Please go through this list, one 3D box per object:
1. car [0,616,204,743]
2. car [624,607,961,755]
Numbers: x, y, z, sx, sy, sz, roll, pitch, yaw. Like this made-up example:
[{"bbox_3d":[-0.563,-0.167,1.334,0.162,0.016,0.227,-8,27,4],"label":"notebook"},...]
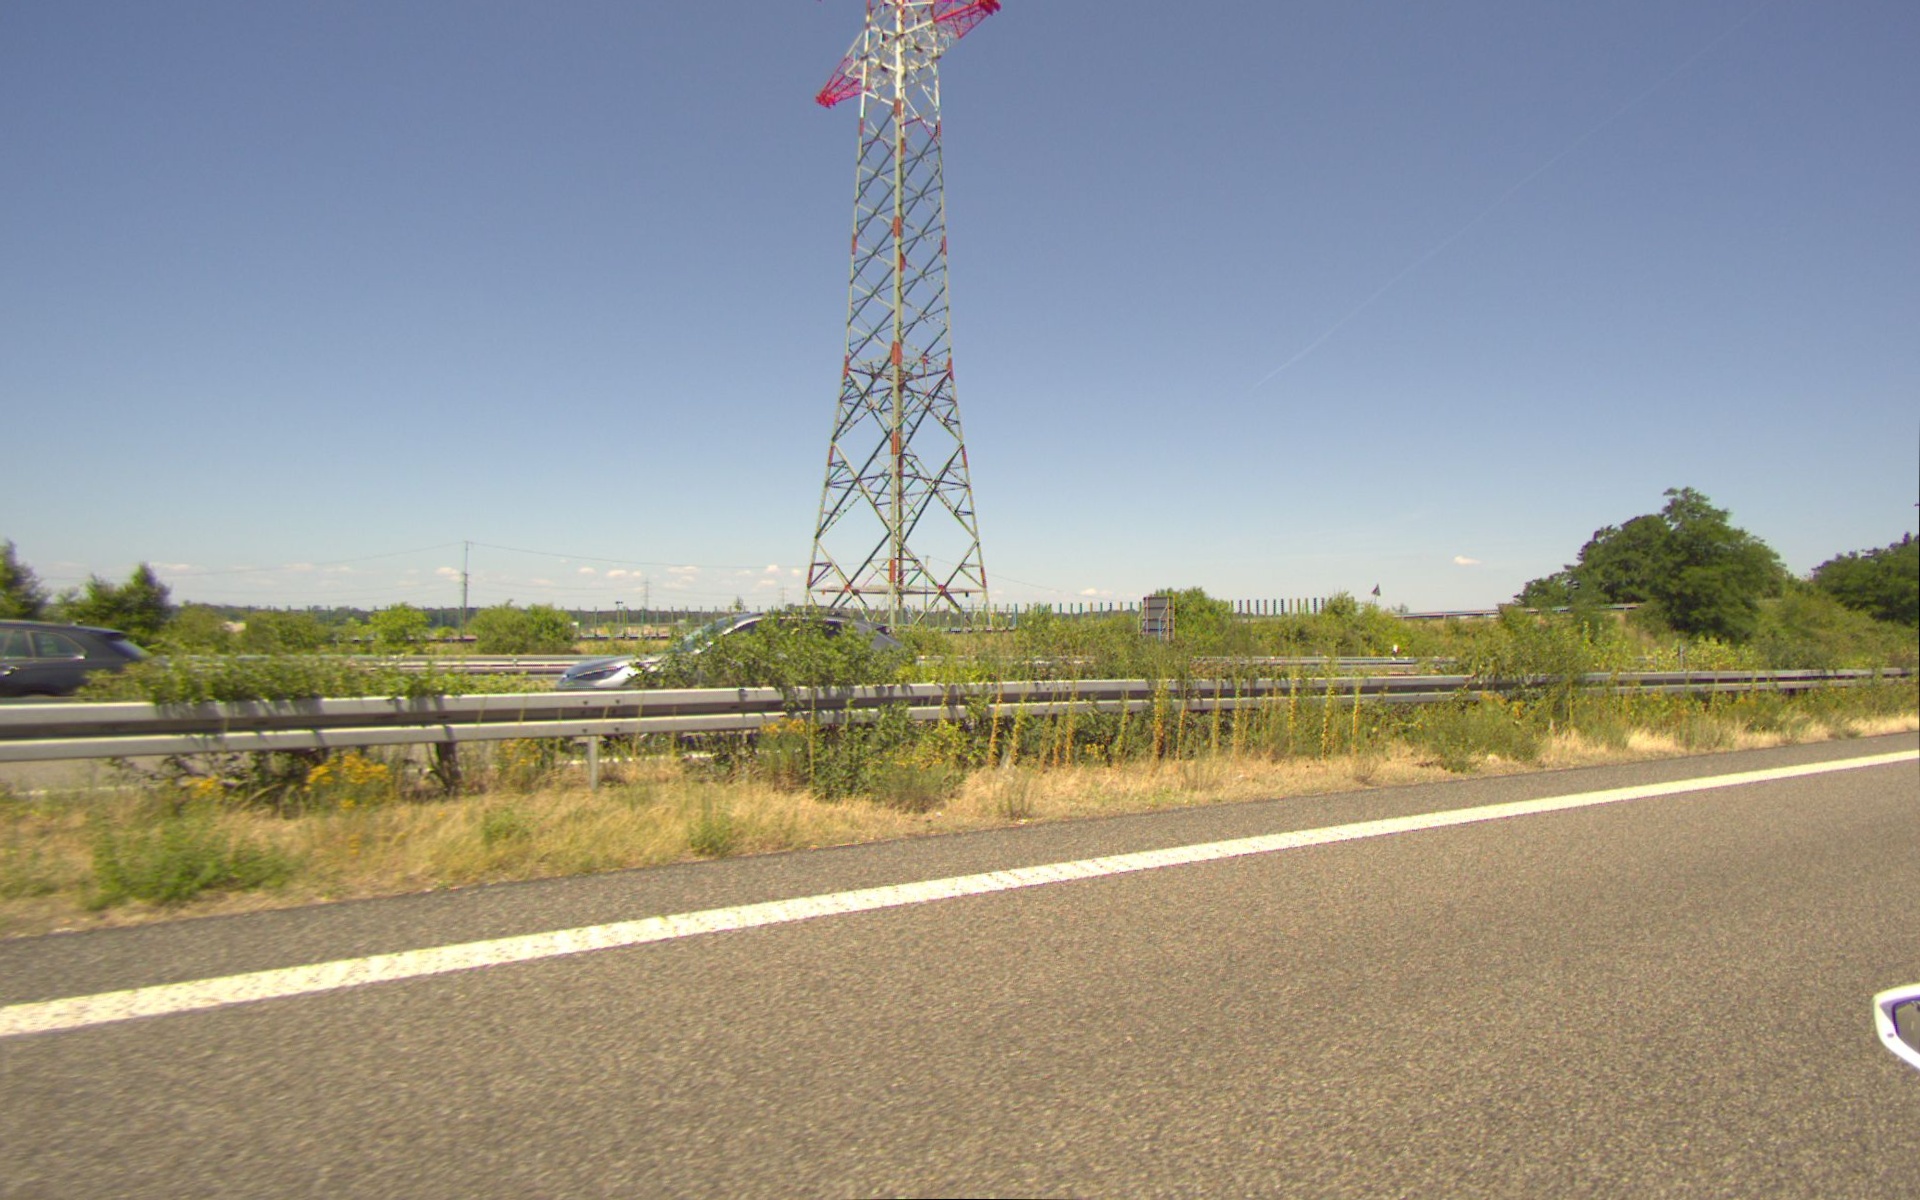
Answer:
[{"bbox_3d":[-11.572,0.879,11.601,4.311,1.406,1.879,2,-2,-31],"label":"car"},{"bbox_3d":[-2.024,0.928,12.455,3.810,1.578,1.592,2,-2,-31],"label":"car"}]
